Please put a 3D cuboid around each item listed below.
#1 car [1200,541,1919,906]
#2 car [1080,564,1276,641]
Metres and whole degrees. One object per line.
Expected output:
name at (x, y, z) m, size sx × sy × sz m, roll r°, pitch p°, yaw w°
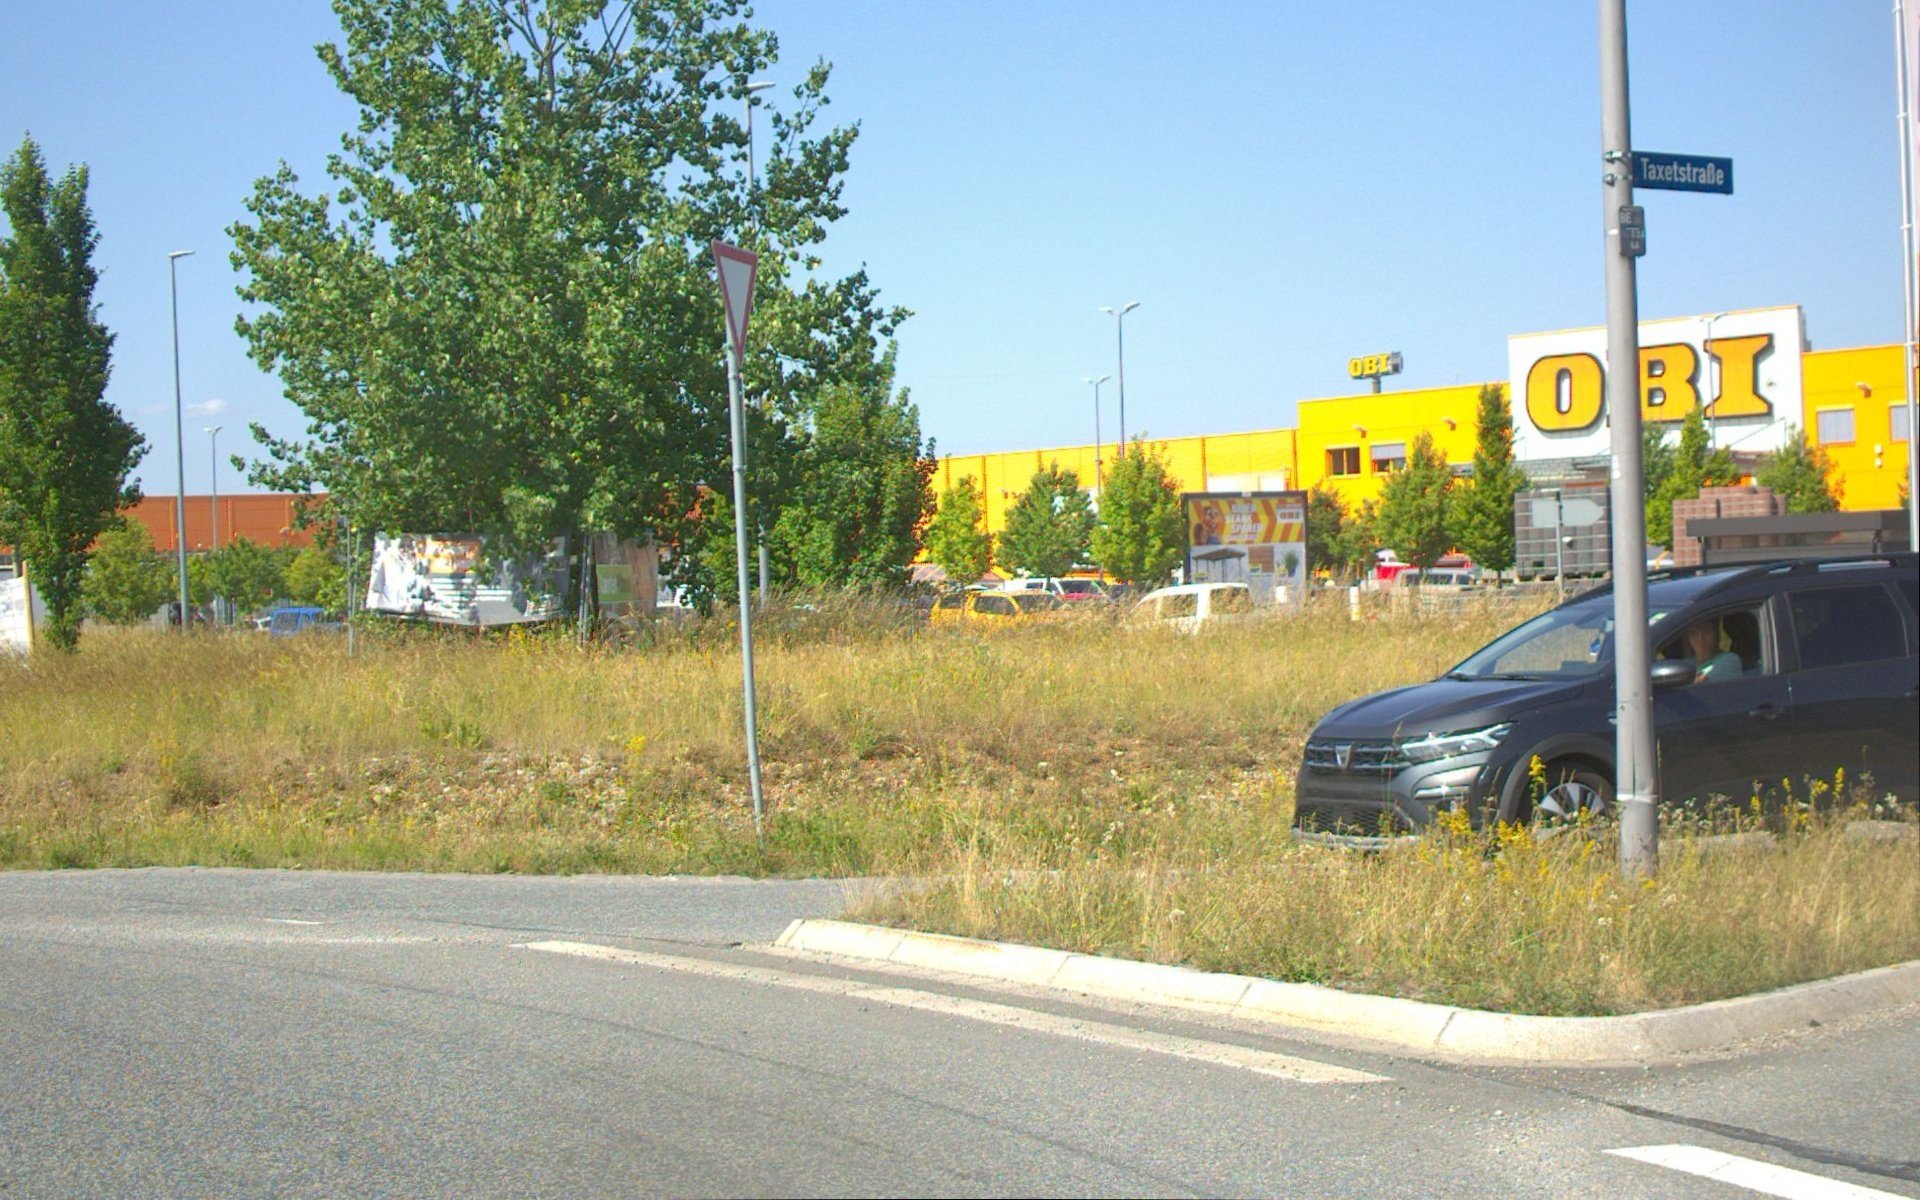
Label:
car at (3.820, 0.593, 18.630) m, size 4.612 × 1.700 × 1.957 m, roll -2°, pitch -1°, yaw -27°
car at (4.867, 0.056, 77.095) m, size 3.997 × 1.612 × 1.995 m, roll -1°, pitch 1°, yaw 44°
